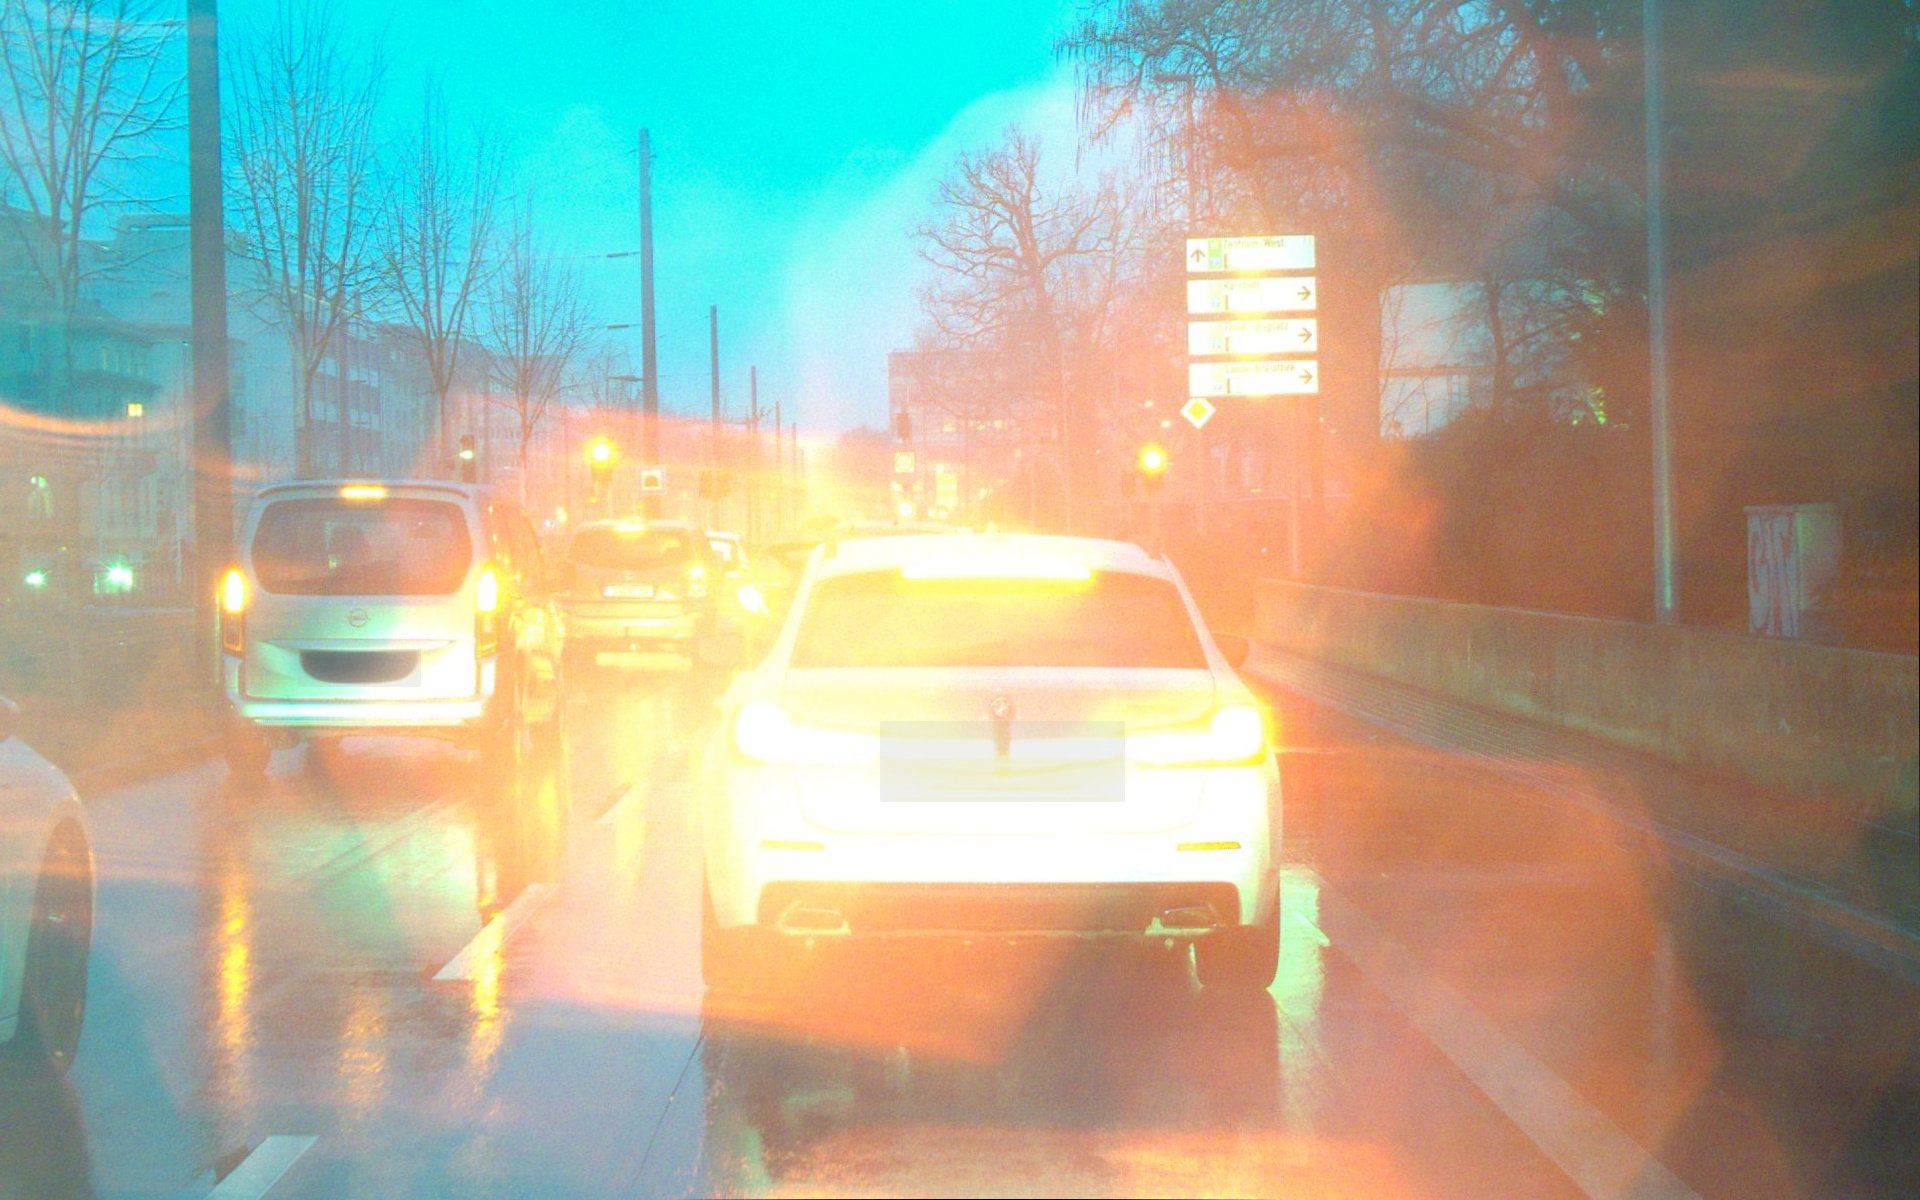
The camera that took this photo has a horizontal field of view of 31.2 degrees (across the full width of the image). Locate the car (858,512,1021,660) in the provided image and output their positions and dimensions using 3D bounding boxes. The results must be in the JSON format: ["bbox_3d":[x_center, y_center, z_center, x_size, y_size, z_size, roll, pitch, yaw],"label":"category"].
[{"bbox_3d":[-0.251,-0.204,40.276,1.806,1.640,4.000,0,1,-1],"label":"car"}]

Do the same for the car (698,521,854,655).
[{"bbox_3d":[-2.465,-0.191,46.962,1.993,1.749,4.000,0,1,-1],"label":"car"}]

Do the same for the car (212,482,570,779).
[{"bbox_3d":[-3.586,0.143,22.392,1.793,1.730,4.538,0,1,-3],"label":"car"}]

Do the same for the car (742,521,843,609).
[{"bbox_3d":[-3.218,-0.705,66.648,1.806,1.640,4.000,0,1,-1],"label":"car"}]

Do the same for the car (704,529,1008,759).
[{"bbox_3d":[-0.689,0.240,24.058,1.936,1.452,4.164,0,1,-1],"label":"car"}]

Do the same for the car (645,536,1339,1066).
[{"bbox_3d":[0.069,0.542,12.001,1.999,1.503,4.164,0,1,-1],"label":"car"}]

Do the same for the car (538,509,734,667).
[{"bbox_3d":[-3.493,-0.173,37.687,1.806,1.640,4.000,0,1,-1],"label":"car"}]

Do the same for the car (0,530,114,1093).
[{"bbox_3d":[-3.292,0.540,7.426,1.846,1.400,4.614,0,1,-1],"label":"car"}]
